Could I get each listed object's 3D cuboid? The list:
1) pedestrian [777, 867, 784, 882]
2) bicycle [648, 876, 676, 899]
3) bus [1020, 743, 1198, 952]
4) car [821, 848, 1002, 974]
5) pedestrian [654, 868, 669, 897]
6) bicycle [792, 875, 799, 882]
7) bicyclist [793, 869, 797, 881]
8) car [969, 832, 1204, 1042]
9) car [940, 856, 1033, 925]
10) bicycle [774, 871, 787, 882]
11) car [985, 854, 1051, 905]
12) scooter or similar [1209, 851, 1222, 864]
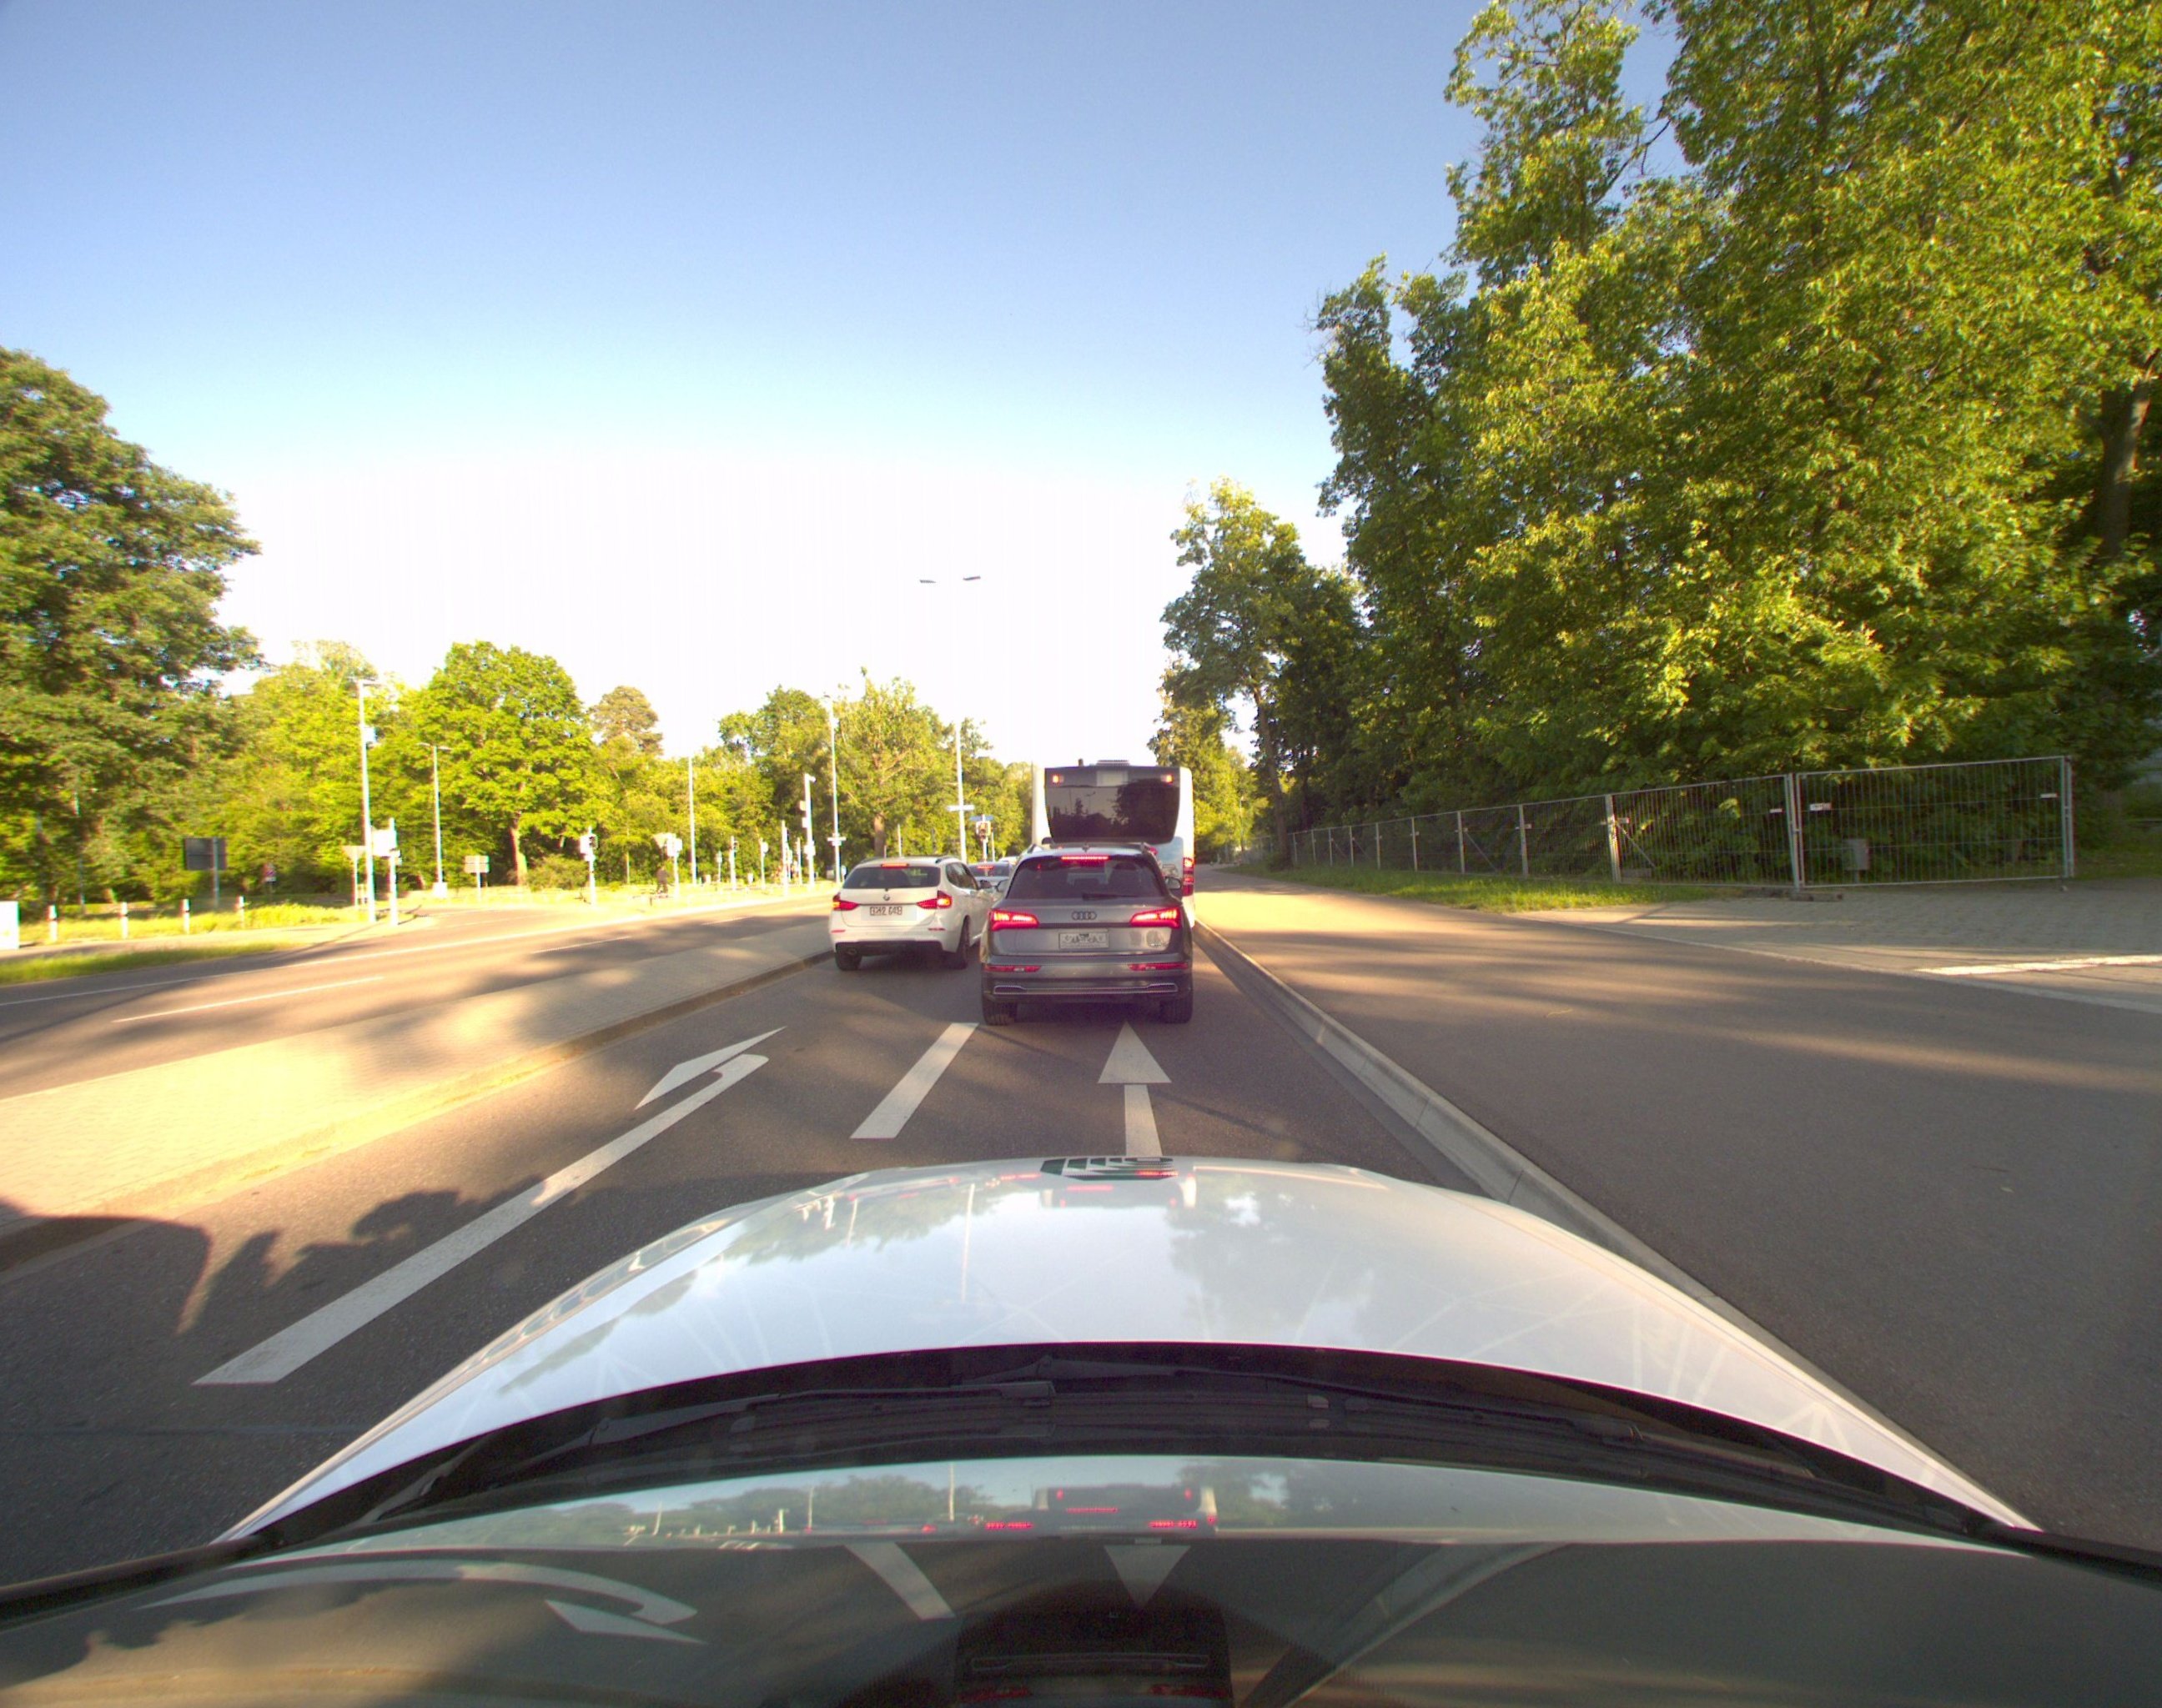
[{"bbox_3d":[-22.282,1.503,60.414,0.444,1.108,0.378,0,-1,-5],"label":"pedestrian"},{"bbox_3d":[-22.942,1.810,44.616,0.466,1.178,2.005,0,-1,2],"label":"bicycle"},{"bbox_3d":[0.574,-0.115,15.252,2.667,3.142,5.887,0,0,3],"label":"bus"},{"bbox_3d":[-2.353,0.726,12.503,1.712,1.581,4.436,0,0,2],"label":"car"},{"bbox_3d":[-22.955,1.578,44.604,0.480,1.562,0.649,0,-1,1],"label":"pedestrian"},{"bbox_3d":[-22.483,1.925,64.110,0.266,0.581,0.838,0,-1,-4],"label":"bicycle"},{"bbox_3d":[-22.486,1.674,64.088,0.272,0.963,0.240,0,-1,-4],"label":"bicyclist"},{"bbox_3d":[0.105,0.641,8.476,1.861,1.663,4.002,0,0,2],"label":"car"},{"bbox_3d":[-2.211,0.814,20.185,1.779,1.444,4.277,0,1,0],"label":"car"},{"bbox_3d":[-22.286,1.668,60.408,0.576,0.800,1.276,0,-1,-3],"label":"bicycle"},{"bbox_3d":[-2.060,0.803,27.638,1.801,1.572,4.002,0,1,2],"label":"car"},{"bbox_3d":[12.866,0.323,77.949,1.175,1.174,0.661,0,0,13],"label":"scooter or similar"}]
